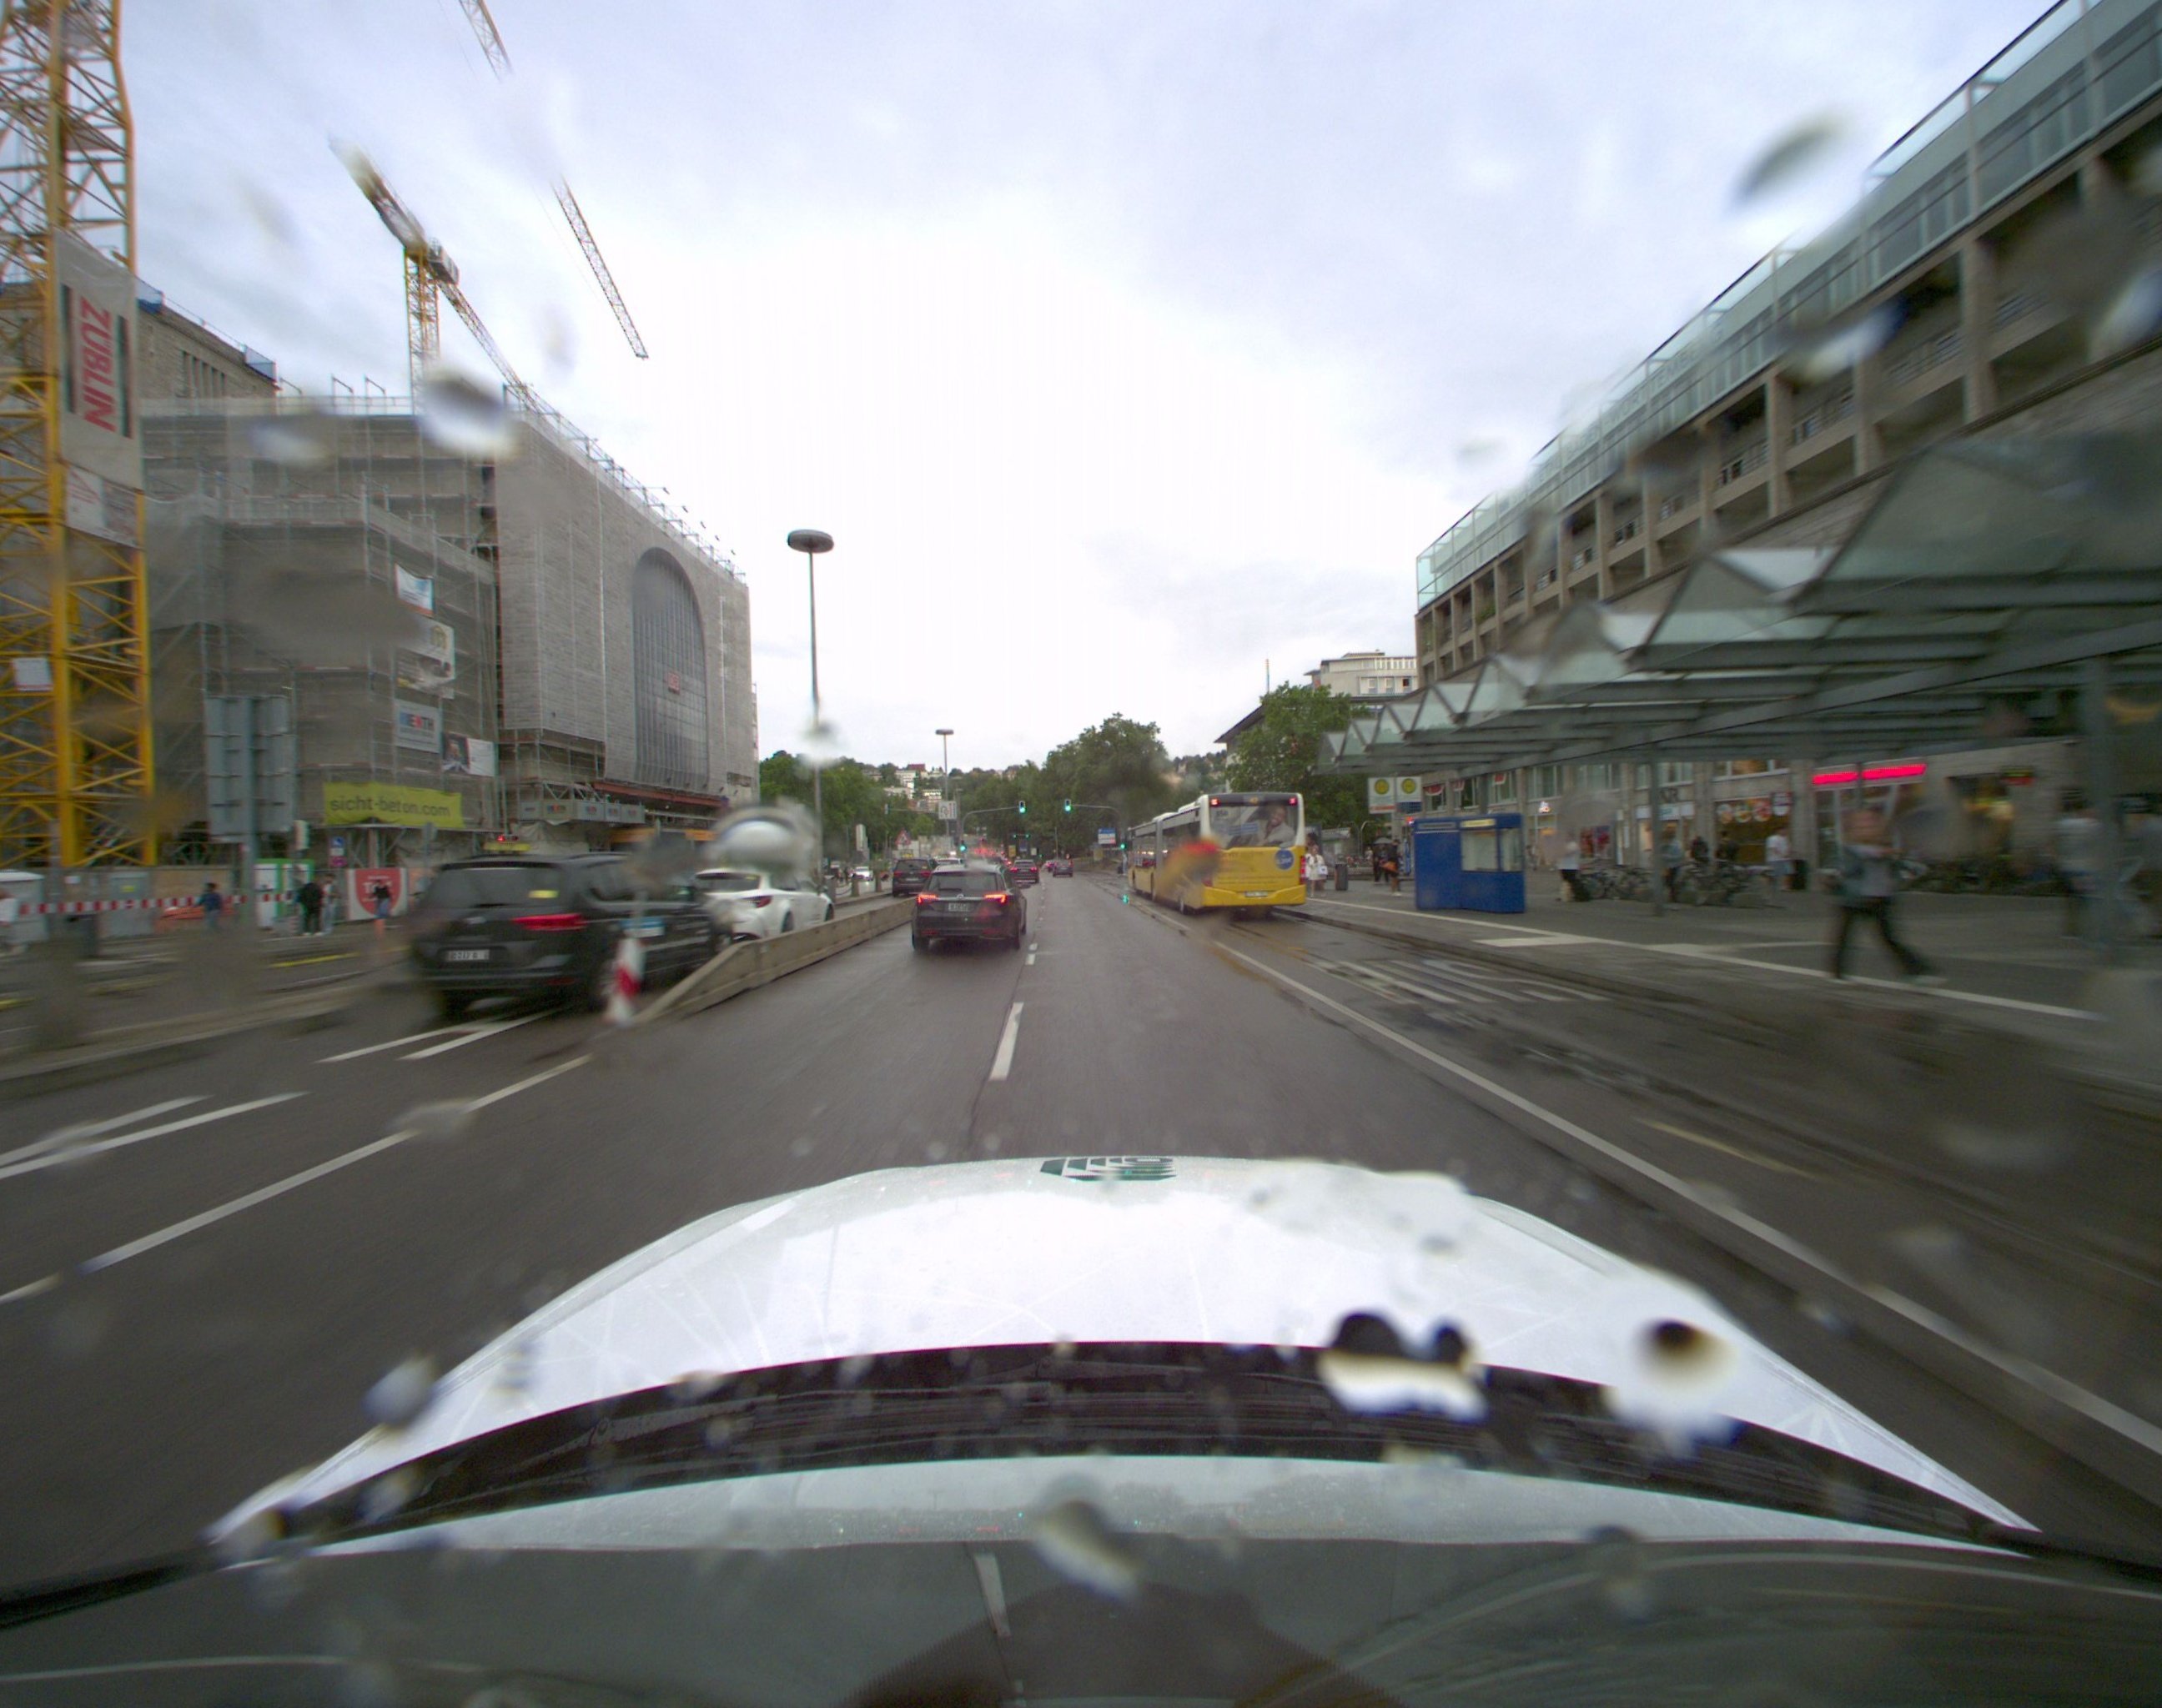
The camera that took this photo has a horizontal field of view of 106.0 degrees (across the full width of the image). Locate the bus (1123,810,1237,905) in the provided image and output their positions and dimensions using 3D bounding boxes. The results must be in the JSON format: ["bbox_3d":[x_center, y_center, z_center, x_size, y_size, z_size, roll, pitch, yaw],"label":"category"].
[{"bbox_3d":[3.652,0.184,32.558,3.105,3.205,9.234,-1,-1,-2],"label":"bus"}]

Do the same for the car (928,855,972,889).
[{"bbox_3d":[-7.404,0.982,46.451,1.989,1.787,4.448,-2,0,-4],"label":"car"}]

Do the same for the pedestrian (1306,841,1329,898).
[{"bbox_3d":[7.733,0.503,26.634,0.689,1.836,0.558,-1,-1,15],"label":"pedestrian"}]

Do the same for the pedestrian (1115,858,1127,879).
[{"bbox_3d":[3.694,1.328,74.598,0.788,1.839,0.945,-2,-1,-17],"label":"pedestrian"}]

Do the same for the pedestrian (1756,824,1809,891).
[{"bbox_3d":[18.266,0.102,21.220,0.975,1.695,0.863,-2,-1,39],"label":"pedestrian"}]

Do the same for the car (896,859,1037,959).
[{"bbox_3d":[-1.910,0.877,15.090,1.871,1.508,4.851,-1,0,0],"label":"car"}]

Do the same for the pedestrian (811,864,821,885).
[{"bbox_3d":[-23.692,1.819,72.747,0.696,1.841,0.528,-2,-1,-4],"label":"pedestrian"}]

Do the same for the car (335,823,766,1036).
[{"bbox_3d":[-5.761,0.699,9.833,1.987,1.862,4.831,-2,0,0],"label":"car"}]

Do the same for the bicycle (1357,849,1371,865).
[{"bbox_3d":[27.659,0.264,79.572,0.789,1.562,2.134,-2,0,6],"label":"bicycle"}]

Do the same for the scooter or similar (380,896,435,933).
[{"bbox_3d":[-21.256,1.905,25.712,0.454,1.066,1.248,-2,-1,33],"label":"scooter or similar"}]

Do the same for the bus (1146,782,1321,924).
[{"bbox_3d":[3.895,0.027,23.400,3.132,3.248,9.129,-1,-1,-1],"label":"bus"}]

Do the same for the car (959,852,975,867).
[{"bbox_3d":[-15.314,0.743,109.868,1.992,2.014,5.356,-1,-1,-7],"label":"car"}]

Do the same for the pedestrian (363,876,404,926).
[{"bbox_3d":[-26.572,1.769,31.053,0.799,1.841,0.851,-1,-1,2],"label":"pedestrian"}]

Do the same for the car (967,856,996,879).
[{"bbox_3d":[-7.816,1.019,64.000,1.782,1.685,4.663,-2,0,-2],"label":"car"}]

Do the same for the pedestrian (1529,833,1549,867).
[{"bbox_3d":[24.911,-0.224,44.301,0.650,1.792,0.789,-2,-1,3],"label":"pedestrian"}]

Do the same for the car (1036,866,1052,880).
[{"bbox_3d":[-4.755,2.448,103.306,1.900,1.717,3.994,-1,-1,-4],"label":"car"}]

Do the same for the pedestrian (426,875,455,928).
[{"bbox_3d":[-22.630,1.668,28.776,0.507,1.841,0.702,-1,-1,-7],"label":"pedestrian"}]

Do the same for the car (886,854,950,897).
[{"bbox_3d":[-6.936,0.878,35.189,1.989,1.654,4.636,-2,0,-3],"label":"car"}]

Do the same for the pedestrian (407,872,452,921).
[{"bbox_3d":[-25.189,1.632,31.489,0.836,1.841,1.058,-1,0,2],"label":"pedestrian"}]

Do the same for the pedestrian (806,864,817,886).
[{"bbox_3d":[-22.630,1.748,68.317,0.637,1.841,0.774,-2,-1,-5],"label":"pedestrian"}]

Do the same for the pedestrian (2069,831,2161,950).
[{"bbox_3d":[12.422,0.428,9.751,0.551,1.377,0.507,-1,-1,-6],"label":"pedestrian"}]

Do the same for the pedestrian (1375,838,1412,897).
[{"bbox_3d":[9.957,0.420,25.979,0.977,1.836,0.838,-1,-1,14],"label":"pedestrian"}]

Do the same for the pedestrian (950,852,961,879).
[{"bbox_3d":[-9.288,0.850,60.233,0.620,2.013,0.835,-1,0,-3],"label":"pedestrian"}]

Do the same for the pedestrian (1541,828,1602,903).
[{"bbox_3d":[12.222,0.288,20.306,0.791,1.805,0.983,-1,-1,-30],"label":"pedestrian"}]

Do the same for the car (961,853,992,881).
[{"bbox_3d":[-7.387,0.904,57.918,1.709,1.892,4.606,-2,0,-2],"label":"car"}]

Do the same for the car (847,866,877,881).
[{"bbox_3d":[-21.816,1.940,81.360,1.988,1.468,3.997,-1,-1,-2],"label":"car"}]

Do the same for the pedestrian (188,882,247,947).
[{"bbox_3d":[-25.743,1.788,24.286,0.799,1.841,0.868,-1,-1,2],"label":"pedestrian"}]

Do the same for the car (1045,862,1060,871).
[{"bbox_3d":[-4.910,2.095,138.846,1.815,1.574,3.983,0,-1,-12],"label":"car"}]

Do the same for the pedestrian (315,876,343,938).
[{"bbox_3d":[-22.804,1.586,24.703,0.336,1.841,0.511,-1,-1,14],"label":"pedestrian"}]

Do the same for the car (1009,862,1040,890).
[{"bbox_3d":[-3.603,1.379,52.394,1.827,1.686,4.128,-2,0,-4],"label":"car"}]

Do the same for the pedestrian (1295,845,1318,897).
[{"bbox_3d":[7.689,0.574,27.805,0.607,1.723,0.592,-1,-1,2],"label":"pedestrian"}]

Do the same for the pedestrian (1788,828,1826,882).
[{"bbox_3d":[24.532,0.032,27.521,0.779,1.793,0.999,-2,-1,35],"label":"pedestrian"}]

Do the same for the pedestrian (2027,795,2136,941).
[{"bbox_3d":[13.099,0.181,10.683,0.603,1.860,0.626,-1,-1,7],"label":"pedestrian"}]

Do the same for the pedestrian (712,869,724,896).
[{"bbox_3d":[-25.993,2.041,58.348,0.534,1.841,0.771,-1,-1,-3],"label":"pedestrian"}]

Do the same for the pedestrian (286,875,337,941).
[{"bbox_3d":[-22.519,1.564,23.838,0.695,1.841,0.883,-1,-1,27],"label":"pedestrian"}]

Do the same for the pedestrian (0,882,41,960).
[{"bbox_3d":[-25.925,1.619,19.698,0.718,1.841,0.612,-1,-1,2],"label":"pedestrian"}]

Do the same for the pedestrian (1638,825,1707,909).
[{"bbox_3d":[12.293,0.268,16.945,0.746,1.695,0.902,-1,-1,2],"label":"pedestrian"}]

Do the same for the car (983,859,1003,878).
[{"bbox_3d":[-9.236,1.514,85.498,1.991,1.845,5.052,-1,-1,-6],"label":"car"}]

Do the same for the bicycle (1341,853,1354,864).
[{"bbox_3d":[24.830,0.415,75.899,0.613,1.055,1.999,-3,0,6],"label":"bicycle"}]

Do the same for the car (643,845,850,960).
[{"bbox_3d":[-5.885,0.773,15.092,1.989,1.706,4.827,-2,0,-3],"label":"car"}]

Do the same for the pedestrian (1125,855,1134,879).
[{"bbox_3d":[4.332,1.192,73.173,0.555,2.146,0.664,-2,-1,-17],"label":"pedestrian"}]

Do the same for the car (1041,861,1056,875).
[{"bbox_3d":[-3.666,1.561,93.035,1.670,1.581,3.236,-1,-1,-2],"label":"car"}]

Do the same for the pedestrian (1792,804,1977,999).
[{"bbox_3d":[7.547,0.409,7.685,0.762,1.690,0.991,-1,-1,-22],"label":"pedestrian"}]

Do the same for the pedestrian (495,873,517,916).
[{"bbox_3d":[-24.872,1.738,35.229,0.571,1.841,0.701,-1,-1,-15],"label":"pedestrian"}]

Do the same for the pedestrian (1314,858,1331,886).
[{"bbox_3d":[10.884,0.790,36.734,0.512,1.232,0.770,-2,-1,1],"label":"pedestrian"}]

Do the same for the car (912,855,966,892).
[{"bbox_3d":[-7.102,0.940,41.328,2.045,1.711,5.049,-2,0,-3],"label":"car"}]

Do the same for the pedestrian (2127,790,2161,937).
[{"bbox_3d":[14.101,0.113,10.482,0.590,1.874,0.595,-2,-1,33],"label":"pedestrian"}]

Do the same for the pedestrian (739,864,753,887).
[{"bbox_3d":[-26.752,1.720,65.012,0.777,1.841,0.771,-2,-1,-2],"label":"pedestrian"}]

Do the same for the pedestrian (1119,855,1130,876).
[{"bbox_3d":[3.854,1.019,71.748,0.747,1.805,0.705,-2,-1,-17],"label":"pedestrian"}]

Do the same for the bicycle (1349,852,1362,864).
[{"bbox_3d":[25.575,0.382,75.900,0.613,1.025,1.999,-3,0,6],"label":"bicycle"}]

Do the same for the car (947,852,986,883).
[{"bbox_3d":[-7.342,0.850,52.460,1.989,1.787,4.842,-2,0,-3],"label":"car"}]

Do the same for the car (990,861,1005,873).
[{"bbox_3d":[-10.366,1.596,101.464,1.821,1.511,4.481,-1,-1,-6],"label":"car"}]

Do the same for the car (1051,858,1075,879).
[{"bbox_3d":[-1.561,1.240,69.115,1.848,1.717,3.994,-1,-1,-4],"label":"car"}]
